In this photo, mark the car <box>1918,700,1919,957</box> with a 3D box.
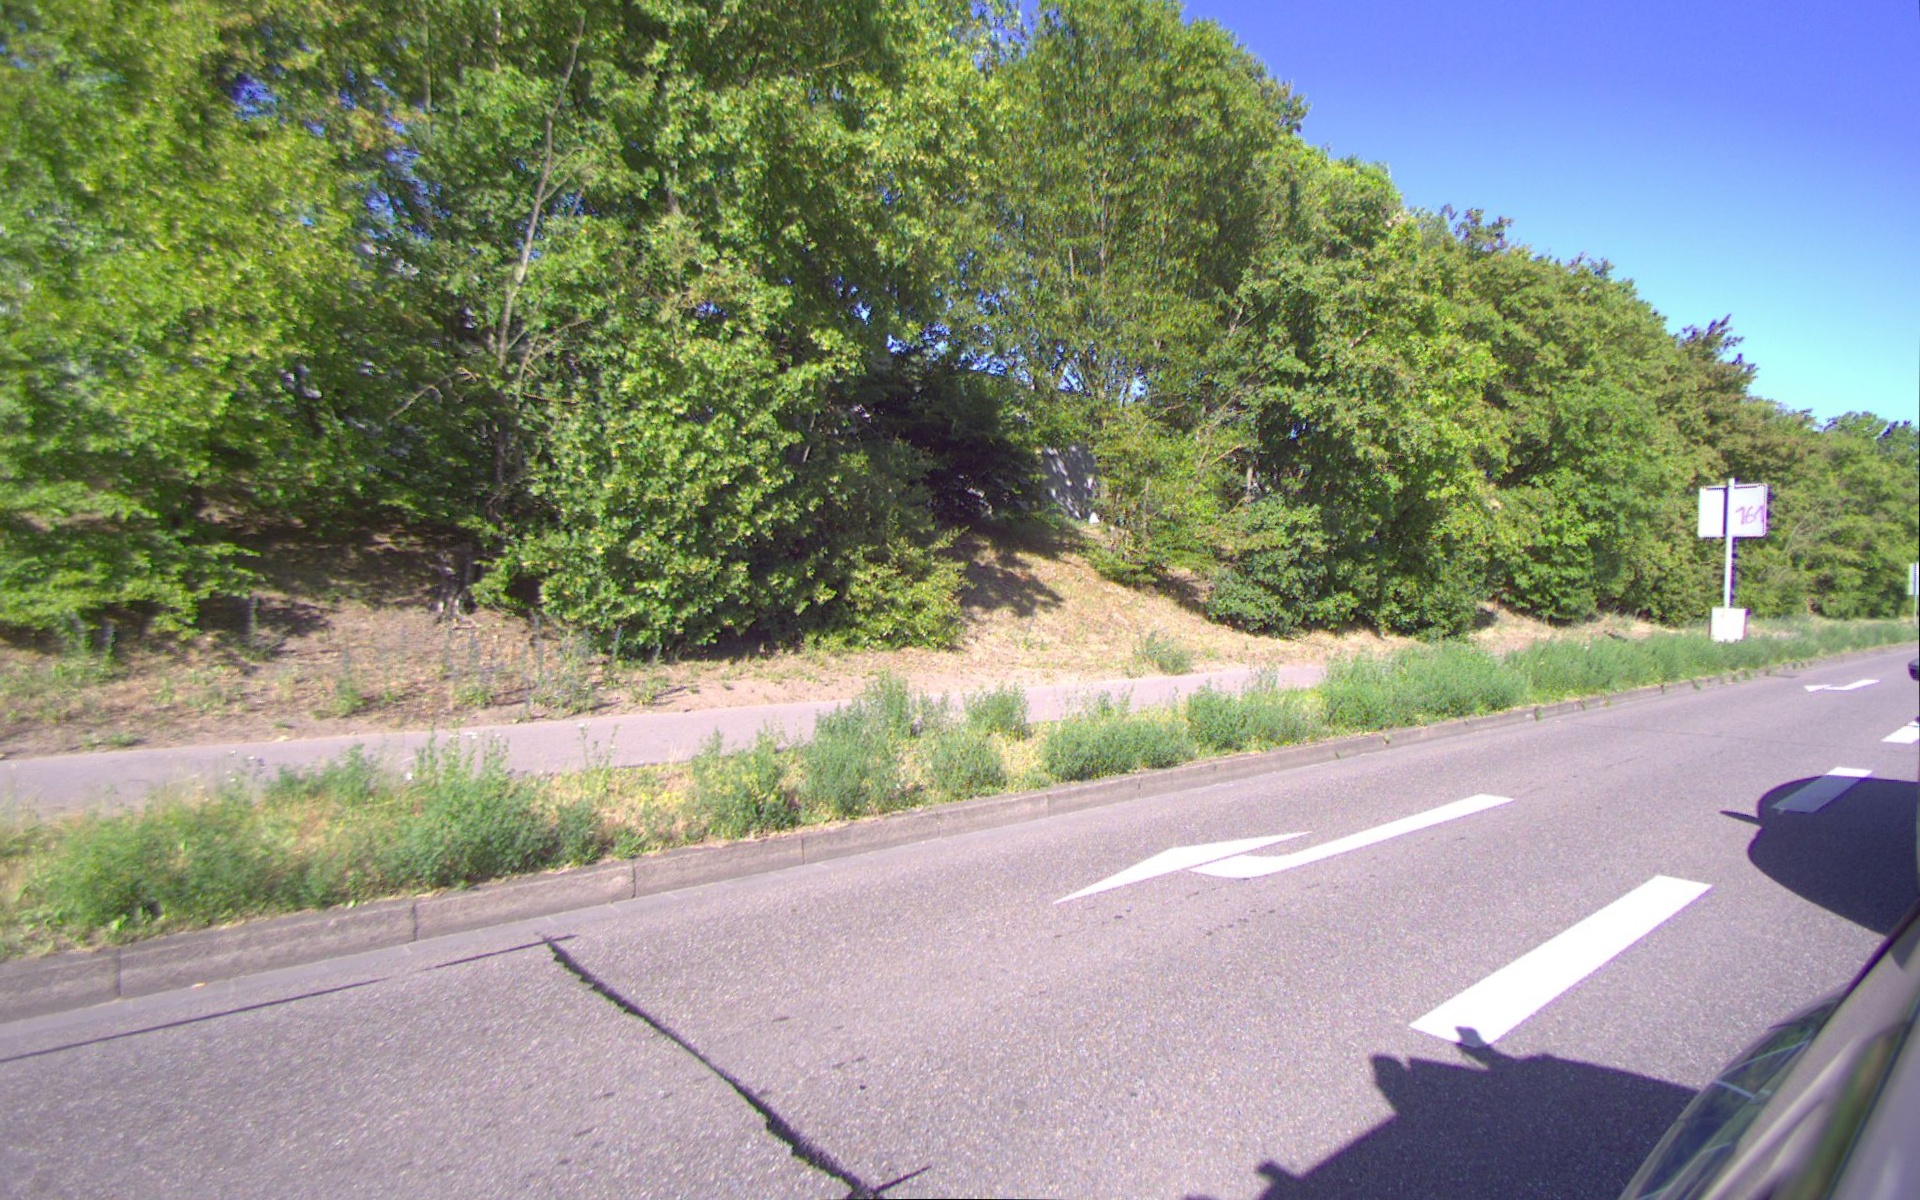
[{"bbox_3d":[5.956,0.657,4.664,3.863,1.617,1.869,0,0,-41],"label":"car"}]
